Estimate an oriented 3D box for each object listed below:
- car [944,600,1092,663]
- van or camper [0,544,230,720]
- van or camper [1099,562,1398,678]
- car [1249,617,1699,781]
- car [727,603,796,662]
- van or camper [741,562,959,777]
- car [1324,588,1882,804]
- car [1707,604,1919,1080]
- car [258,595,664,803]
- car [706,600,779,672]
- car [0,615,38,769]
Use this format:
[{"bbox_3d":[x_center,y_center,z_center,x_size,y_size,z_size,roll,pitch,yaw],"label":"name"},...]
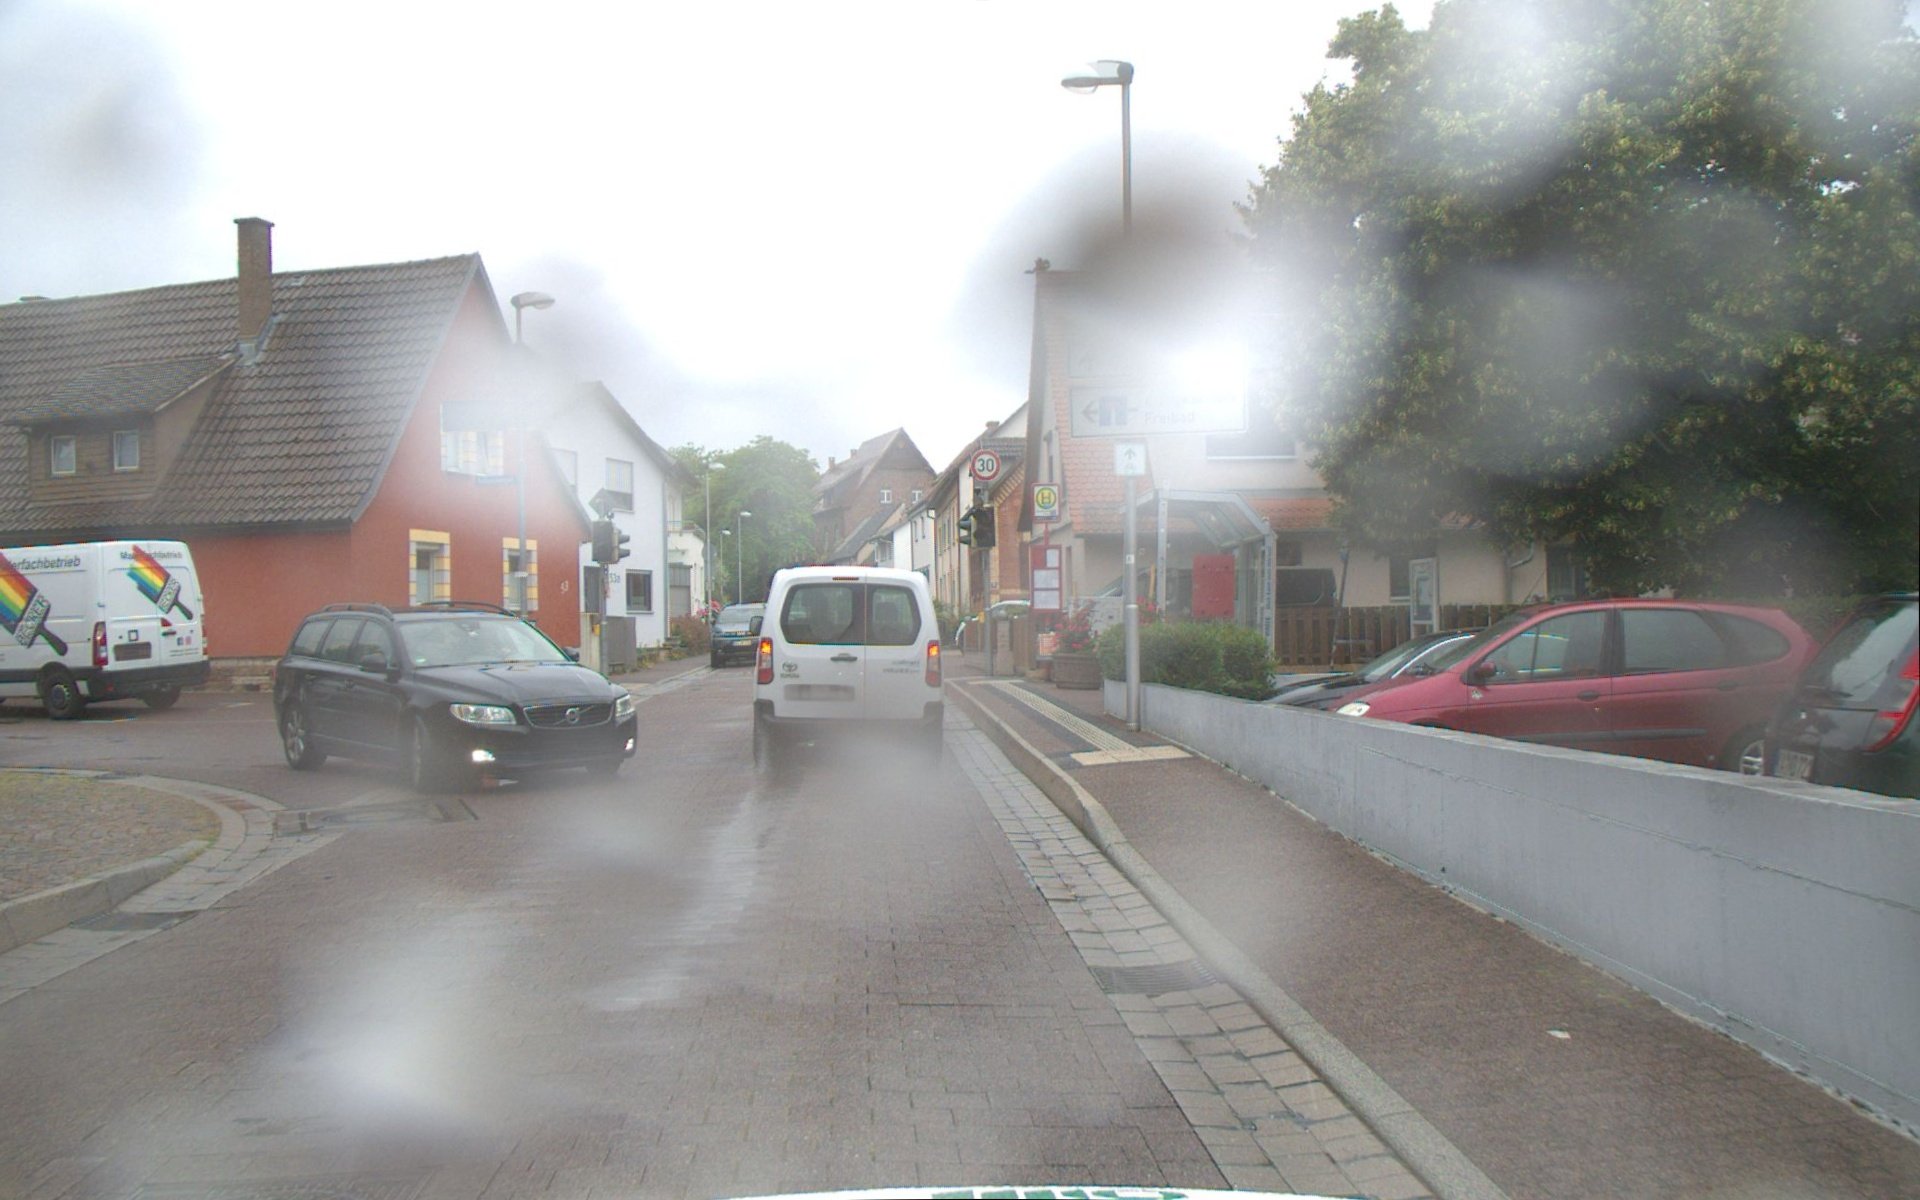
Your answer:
[{"bbox_3d":[1.613,0.856,47.463,1.856,1.618,4.561,0,1,-36],"label":"car"},{"bbox_3d":[-13.953,0.498,25.239,5.037,2.478,2.211,-2,0,22],"label":"van or camper"},{"bbox_3d":[5.124,0.369,29.675,4.972,1.957,1.873,1,-1,-7],"label":"van or camper"},{"bbox_3d":[4.879,0.930,16.137,3.868,1.402,1.753,-2,0,4],"label":"car"},{"bbox_3d":[-6.177,1.022,51.844,1.714,1.665,4.416,-4,-1,-2],"label":"car"},{"bbox_3d":[-1.086,0.633,16.525,1.905,1.883,3.997,0,-1,-4],"label":"van or camper"},{"bbox_3d":[5.096,0.764,13.661,3.981,1.617,1.859,-1,0,10],"label":"car"},{"bbox_3d":[5.029,0.739,5.736,4.137,1.506,1.696,-1,-1,12],"label":"car"},{"bbox_3d":[-4.533,0.782,14.626,1.834,1.503,4.249,-3,1,-41],"label":"car"},{"bbox_3d":[-5.940,0.944,45.602,1.777,1.810,4.013,-2,0,-5],"label":"car"},{"bbox_3d":[-12.109,0.937,17.212,4.352,1.577,1.883,0,-1,17],"label":"car"}]
